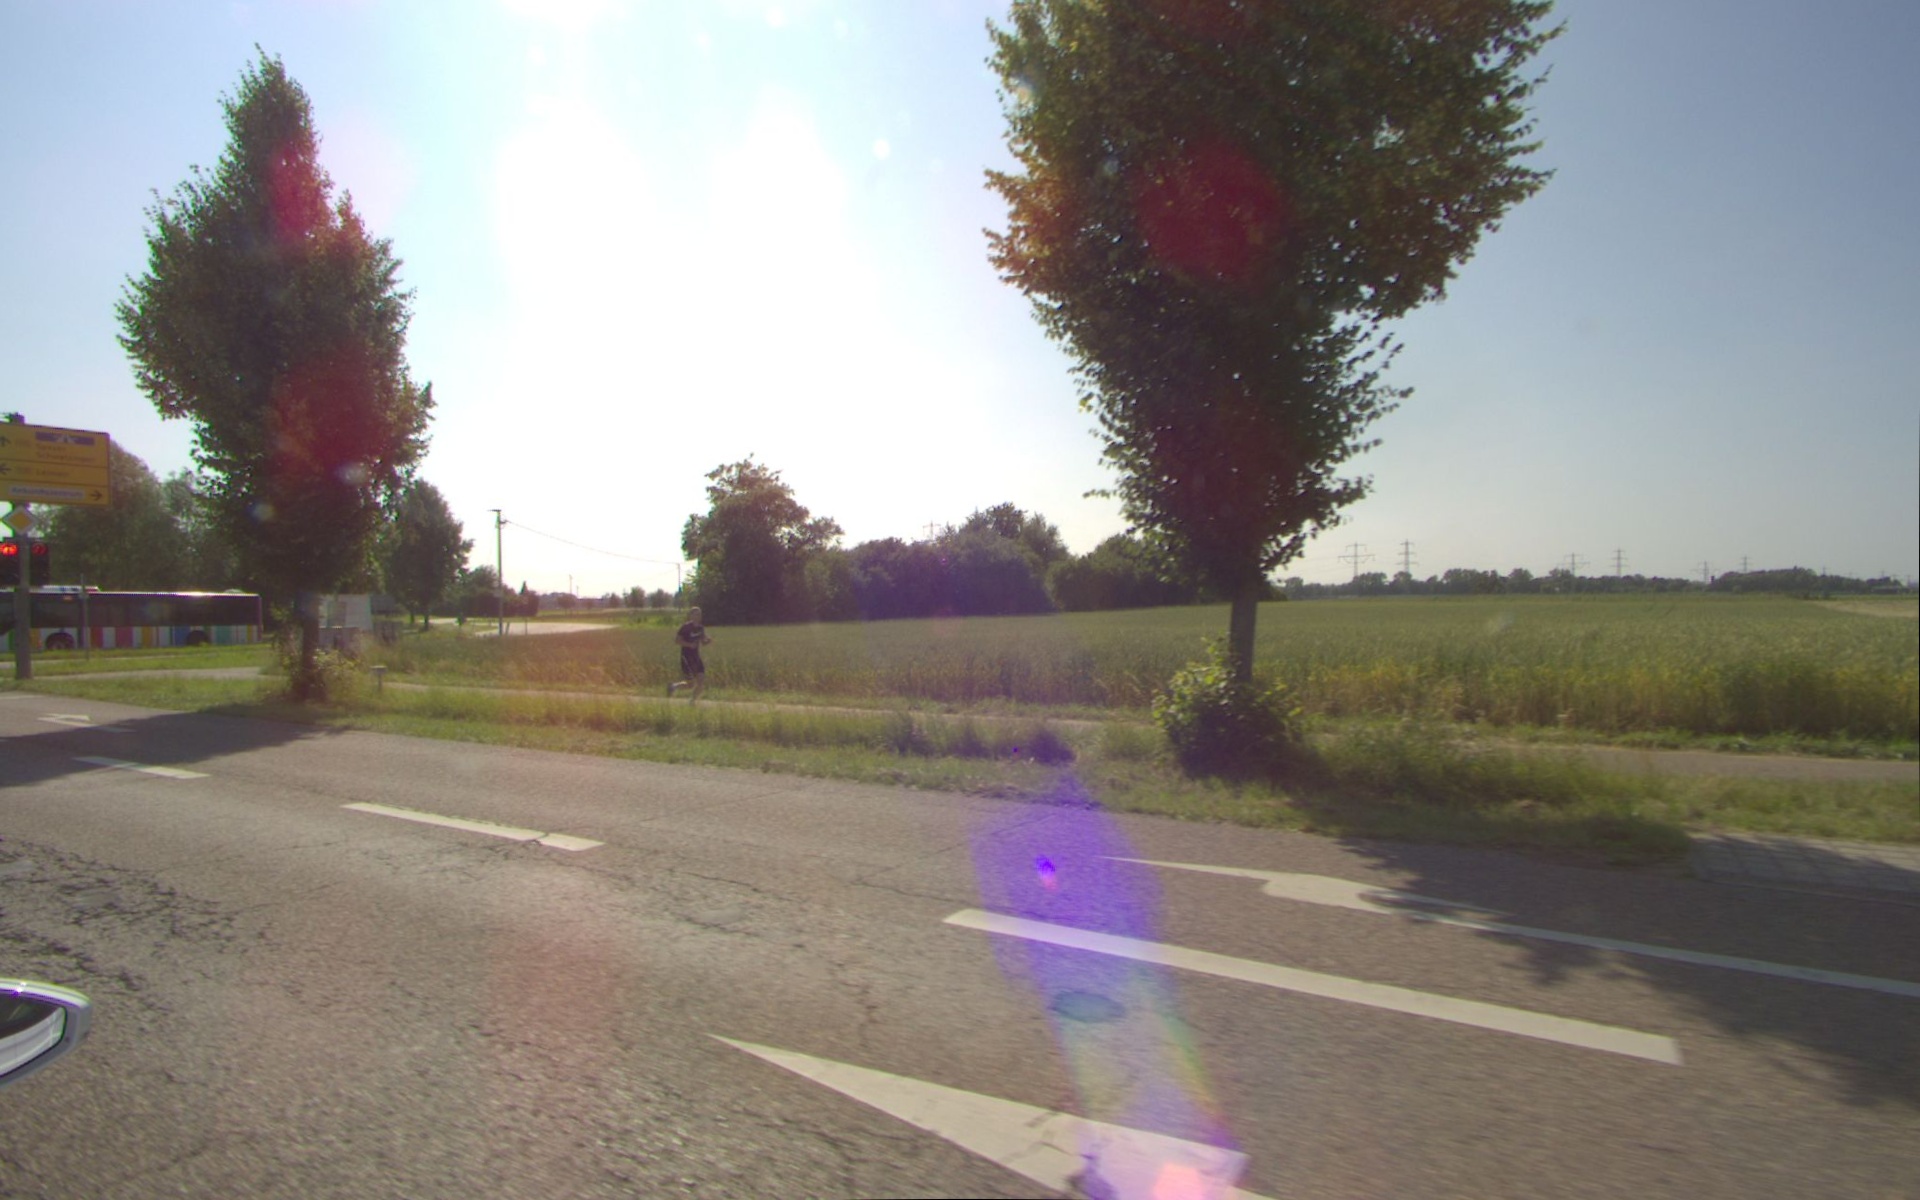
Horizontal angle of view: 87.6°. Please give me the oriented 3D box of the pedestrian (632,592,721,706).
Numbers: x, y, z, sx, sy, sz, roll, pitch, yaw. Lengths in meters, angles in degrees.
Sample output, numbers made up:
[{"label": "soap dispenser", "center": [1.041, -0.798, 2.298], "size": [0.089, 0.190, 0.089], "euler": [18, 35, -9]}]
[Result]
[{"label": "pedestrian", "center": [-4.824, 0.812, 17.054], "size": [1.177, 1.864, 0.900], "euler": [0, 1, 30]}]

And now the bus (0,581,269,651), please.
[{"label": "bus", "center": [-39.491, 0.658, 47.314], "size": [2.889, 2.915, 11.956], "euler": [-1, 0, 17]}]
